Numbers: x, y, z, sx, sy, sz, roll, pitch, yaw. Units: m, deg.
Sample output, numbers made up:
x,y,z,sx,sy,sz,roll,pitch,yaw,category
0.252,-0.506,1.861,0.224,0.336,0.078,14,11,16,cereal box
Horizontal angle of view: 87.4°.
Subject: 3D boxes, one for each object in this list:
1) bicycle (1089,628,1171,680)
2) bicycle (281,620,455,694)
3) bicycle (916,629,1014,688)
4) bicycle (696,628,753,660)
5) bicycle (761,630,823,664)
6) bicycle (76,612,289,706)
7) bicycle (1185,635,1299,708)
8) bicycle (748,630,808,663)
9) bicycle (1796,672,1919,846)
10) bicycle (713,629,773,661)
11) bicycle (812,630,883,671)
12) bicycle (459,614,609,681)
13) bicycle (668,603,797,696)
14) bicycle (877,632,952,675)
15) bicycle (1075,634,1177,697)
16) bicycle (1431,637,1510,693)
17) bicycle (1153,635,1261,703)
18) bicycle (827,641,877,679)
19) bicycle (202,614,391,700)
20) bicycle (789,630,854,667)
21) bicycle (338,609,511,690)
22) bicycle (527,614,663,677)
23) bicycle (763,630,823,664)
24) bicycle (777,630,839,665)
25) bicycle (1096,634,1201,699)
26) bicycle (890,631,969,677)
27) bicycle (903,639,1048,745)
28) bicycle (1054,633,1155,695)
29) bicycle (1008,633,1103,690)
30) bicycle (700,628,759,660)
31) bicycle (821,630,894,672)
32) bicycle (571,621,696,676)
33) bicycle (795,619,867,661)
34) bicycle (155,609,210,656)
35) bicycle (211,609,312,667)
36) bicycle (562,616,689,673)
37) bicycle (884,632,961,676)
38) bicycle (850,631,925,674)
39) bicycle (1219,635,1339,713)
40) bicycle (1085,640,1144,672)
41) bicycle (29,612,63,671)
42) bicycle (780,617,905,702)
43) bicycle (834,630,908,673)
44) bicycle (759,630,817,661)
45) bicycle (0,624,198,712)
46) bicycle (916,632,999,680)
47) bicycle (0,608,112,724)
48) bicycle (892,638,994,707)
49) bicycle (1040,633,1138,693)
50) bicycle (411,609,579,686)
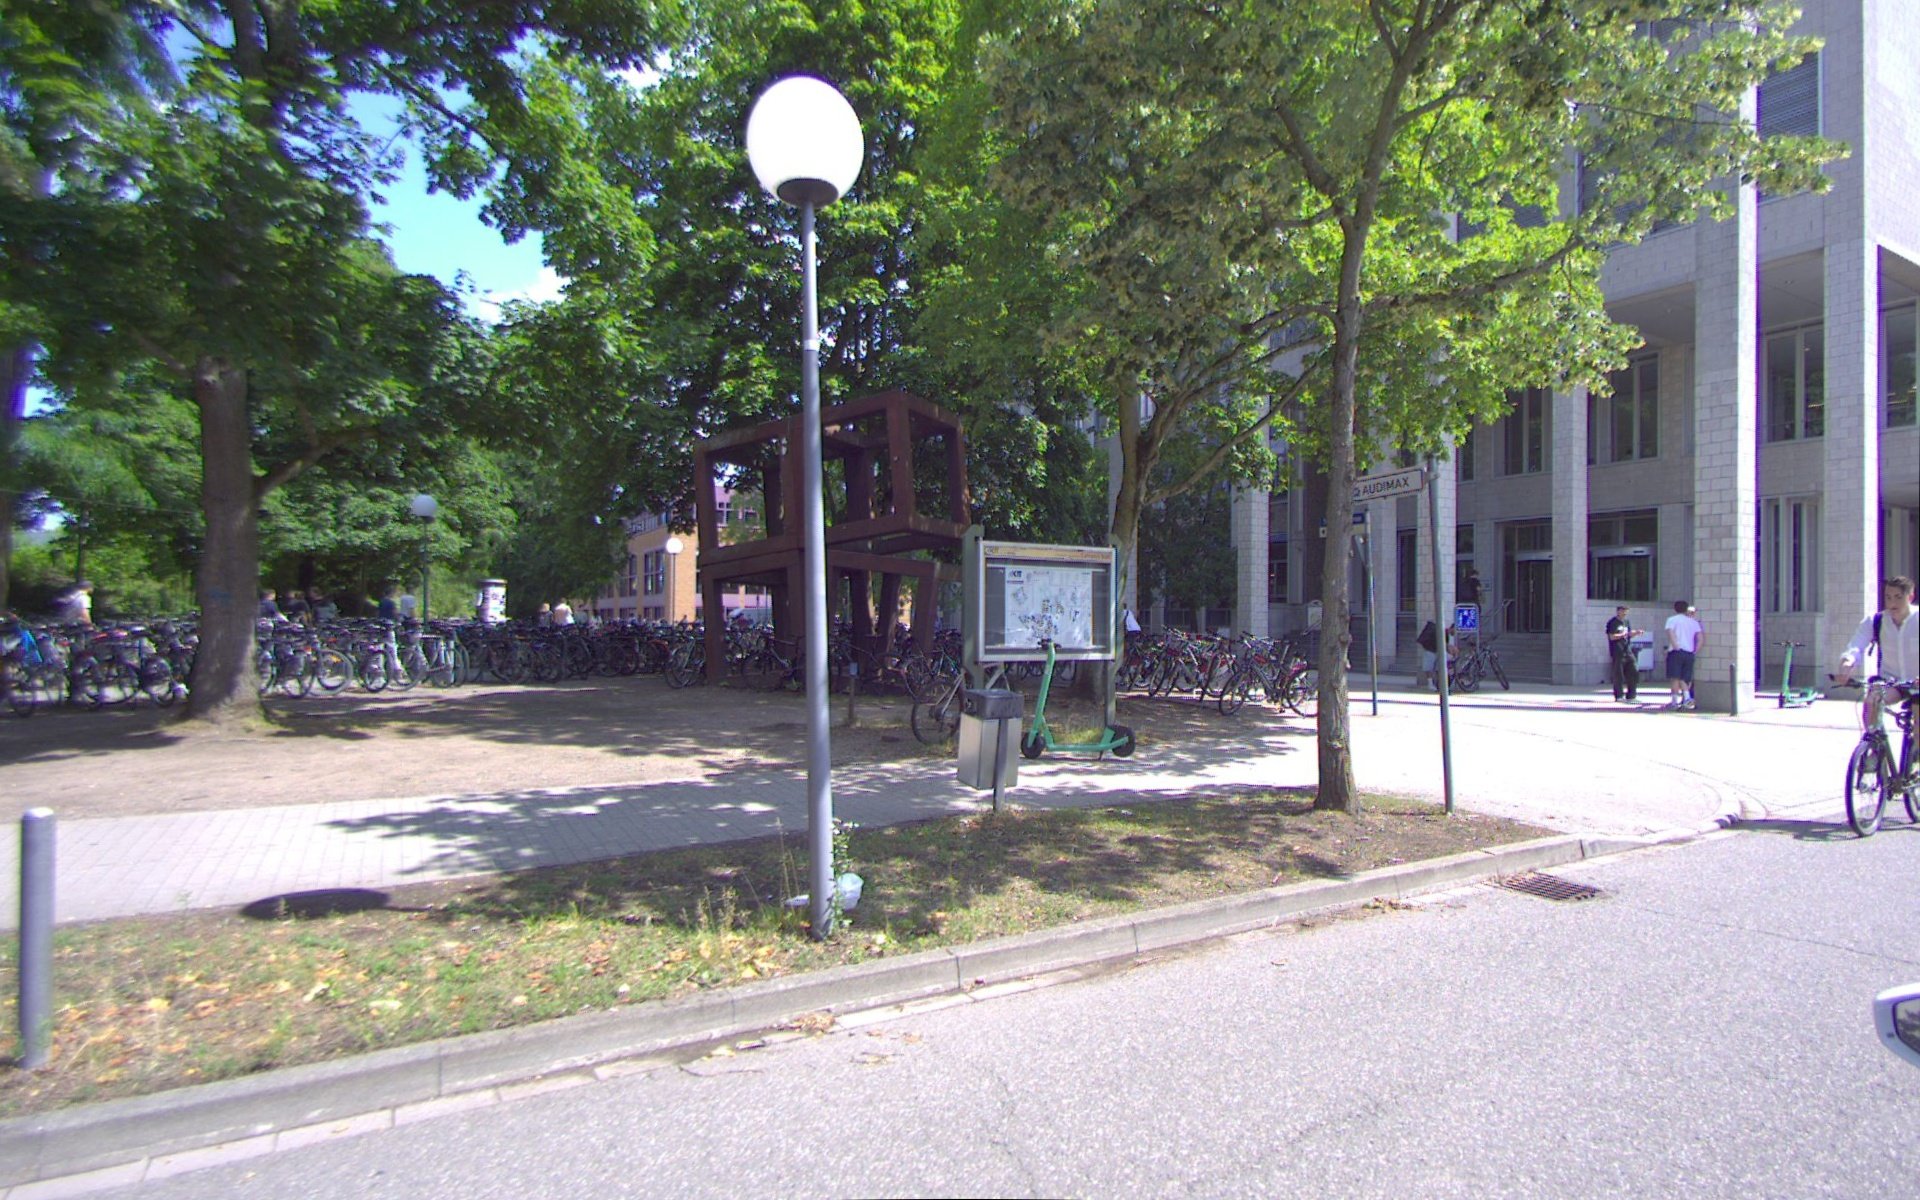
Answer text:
x,y,z,sx,sy,sz,roll,pitch,yaw,category
4.301,1.342,25.644,0.871,1.215,2.738,1,-1,-18,bicycle
-9.546,0.892,16.205,2.630,1.091,0.883,0,0,18,bicycle
0.111,1.064,18.599,1.828,1.046,0.473,1,-1,-30,bicycle
-8.615,1.595,36.759,1.950,1.101,0.614,1,1,-31,bicycle
-5.580,1.558,33.409,1.950,1.101,0.549,1,1,-31,bicycle
-10.810,0.779,13.964,2.826,1.193,0.883,0,0,18,bicycle
4.542,1.123,16.110,1.950,1.101,0.549,1,1,-31,bicycle
-6.283,1.595,34.752,1.950,1.101,0.549,1,1,-31,bicycle
7.295,1.169,7.815,1.868,1.144,0.681,1,-2,-33,bicycle
-7.568,1.565,35.134,1.950,1.101,0.614,1,1,-31,bicycle
-3.194,1.421,28.544,1.950,1.101,0.549,1,1,-31,bicycle
-8.388,0.909,19.754,2.902,1.141,0.743,3,0,18,bicycle
-3.837,0.799,16.872,2.248,1.469,0.606,0,-1,27,bicycle
-1.197,1.398,26.567,1.950,1.101,0.549,1,1,-31,bicycle
3.069,1.181,18.508,1.950,1.101,0.549,1,1,-31,bicycle
10.543,1.328,20.732,1.840,1.028,0.463,-1,1,-27,bicycle
4.250,1.163,17.226,1.950,1.101,0.549,1,1,-31,bicycle
-2.385,1.318,22.312,0.317,0.773,1.559,1,-1,26,bicycle
-9.942,0.817,15.059,2.655,1.195,0.883,0,0,18,bicycle
-4.308,1.506,31.296,1.950,1.101,0.549,1,1,-31,bicycle
-9.286,0.830,17.414,2.875,1.304,0.883,0,0,18,bicycle
-7.607,0.919,20.925,2.781,1.249,0.743,0,-1,18,bicycle
-5.692,1.592,34.245,1.950,1.101,0.549,1,1,-31,bicycle
-4.998,1.560,33.015,1.950,1.101,0.549,1,1,-31,bicycle
3.401,1.171,18.051,1.950,1.101,0.549,1,1,-31,bicycle
-0.761,1.357,25.303,1.950,1.101,0.549,1,1,-31,bicycle
0.202,0.951,10.790,1.802,1.039,0.378,2,-1,-43,bicycle
2.748,1.193,19.022,1.950,1.101,0.549,1,1,-31,bicycle
1.936,1.222,20.271,1.950,1.101,0.549,1,1,-31,bicycle
-8.264,1.576,36.016,1.950,1.101,0.614,1,1,-31,bicycle
-2.844,1.409,28.018,1.950,1.101,0.549,1,1,-31,bicycle
-7.562,1.100,23.241,2.853,1.171,0.743,1,0,18,bicycle
-3.819,1.170,29.806,2.067,1.137,0.547,-1,1,-31,bicycle
-18.311,0.756,23.646,2.029,1.049,0.504,1,0,37,bicycle
-14.525,0.773,20.874,2.263,1.124,0.734,1,0,27,bicycle
-7.377,0.959,22.139,2.708,1.083,0.743,3,0,18,bicycle
-0.965,1.379,25.948,1.950,1.101,0.549,1,1,-31,bicycle
-1.927,1.385,26.804,1.950,1.101,0.549,1,1,-31,bicycle
4.843,1.092,15.187,1.950,1.101,0.549,1,1,-31,bicycle
4.898,1.767,31.767,1.971,0.958,0.522,1,-1,-32,bicycle
-19.831,0.876,21.777,1.772,1.223,0.421,1,0,44,bicycle
-1.862,0.915,15.815,1.984,1.270,0.586,-1,-1,28,bicycle
-2.414,1.391,27.292,1.950,1.101,0.549,1,1,-31,bicycle
-6.089,1.607,35.672,1.953,1.037,0.613,1,1,-35,bicycle
-11.244,0.837,12.947,2.679,1.016,0.883,0,0,18,bicycle
-0.045,1.323,24.007,1.950,1.101,0.549,1,1,-31,bicycle
-11.363,0.714,11.700,2.850,1.236,0.883,0,0,18,bicycle
-0.241,1.074,15.252,1.644,0.978,0.471,1,-1,-42,bicycle
2.537,1.214,19.652,1.950,1.101,0.549,1,1,-31,bicycle
-8.606,0.850,18.586,3.021,1.314,0.883,0,0,18,bicycle
